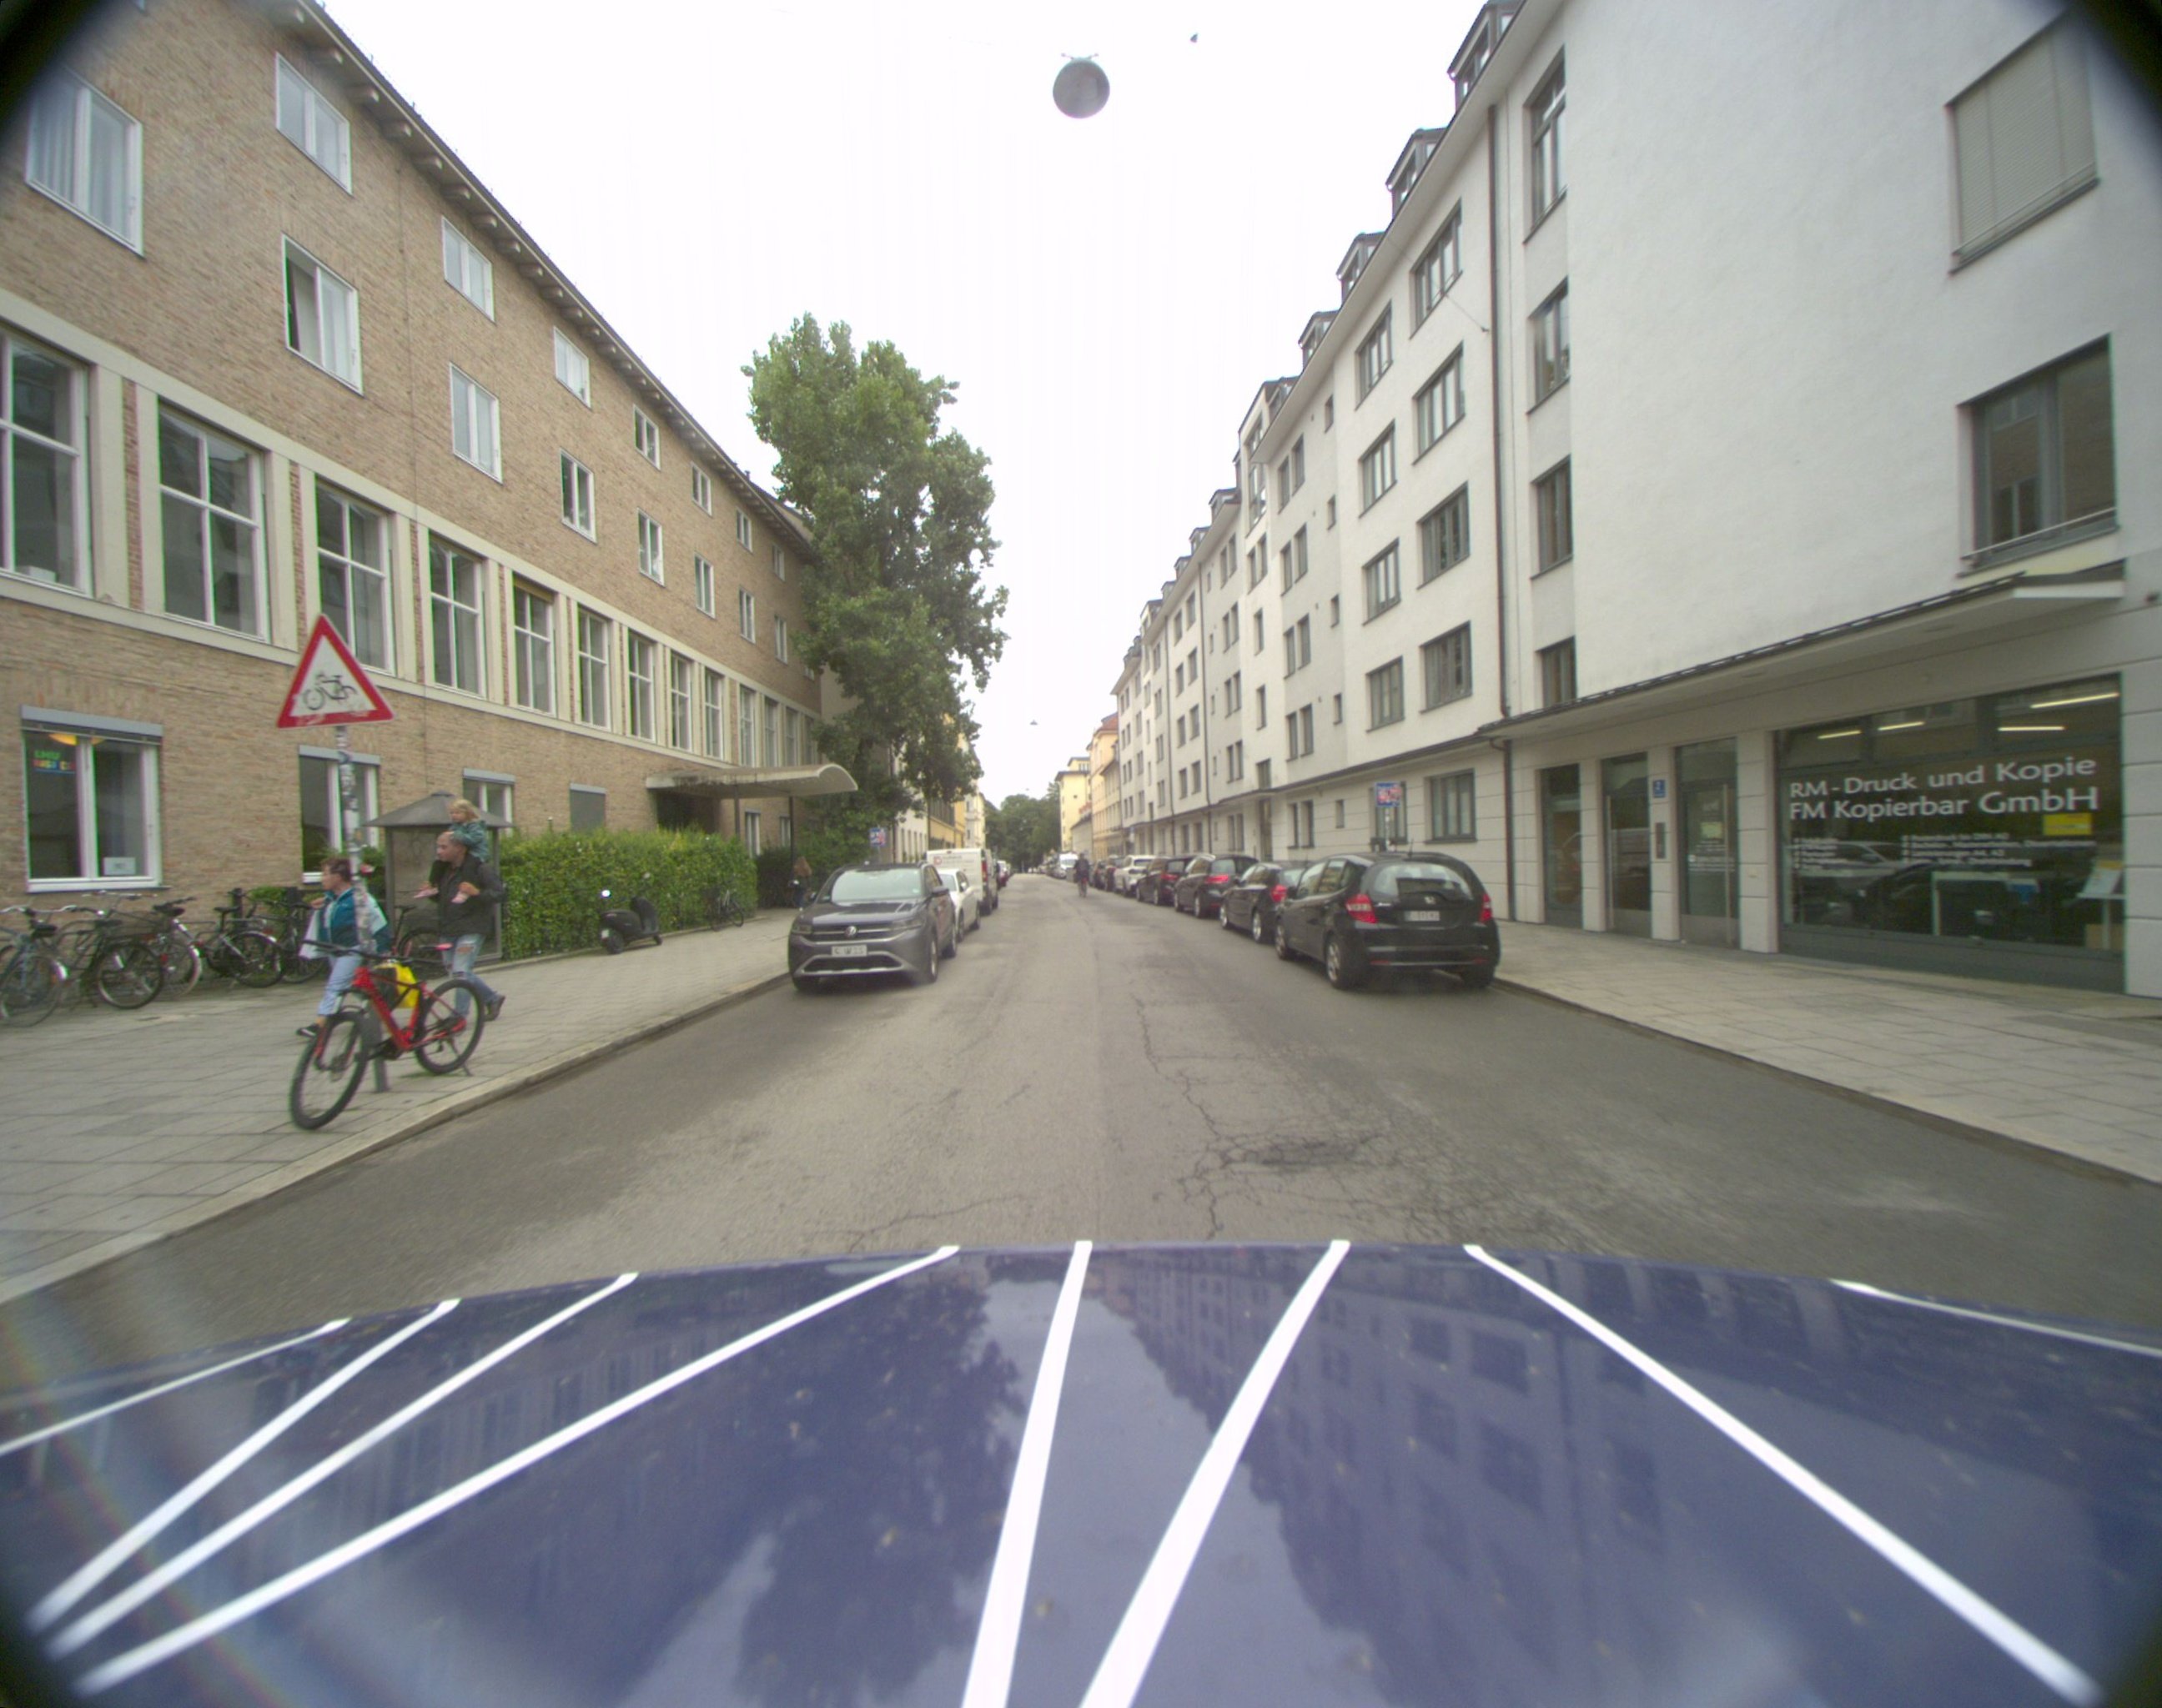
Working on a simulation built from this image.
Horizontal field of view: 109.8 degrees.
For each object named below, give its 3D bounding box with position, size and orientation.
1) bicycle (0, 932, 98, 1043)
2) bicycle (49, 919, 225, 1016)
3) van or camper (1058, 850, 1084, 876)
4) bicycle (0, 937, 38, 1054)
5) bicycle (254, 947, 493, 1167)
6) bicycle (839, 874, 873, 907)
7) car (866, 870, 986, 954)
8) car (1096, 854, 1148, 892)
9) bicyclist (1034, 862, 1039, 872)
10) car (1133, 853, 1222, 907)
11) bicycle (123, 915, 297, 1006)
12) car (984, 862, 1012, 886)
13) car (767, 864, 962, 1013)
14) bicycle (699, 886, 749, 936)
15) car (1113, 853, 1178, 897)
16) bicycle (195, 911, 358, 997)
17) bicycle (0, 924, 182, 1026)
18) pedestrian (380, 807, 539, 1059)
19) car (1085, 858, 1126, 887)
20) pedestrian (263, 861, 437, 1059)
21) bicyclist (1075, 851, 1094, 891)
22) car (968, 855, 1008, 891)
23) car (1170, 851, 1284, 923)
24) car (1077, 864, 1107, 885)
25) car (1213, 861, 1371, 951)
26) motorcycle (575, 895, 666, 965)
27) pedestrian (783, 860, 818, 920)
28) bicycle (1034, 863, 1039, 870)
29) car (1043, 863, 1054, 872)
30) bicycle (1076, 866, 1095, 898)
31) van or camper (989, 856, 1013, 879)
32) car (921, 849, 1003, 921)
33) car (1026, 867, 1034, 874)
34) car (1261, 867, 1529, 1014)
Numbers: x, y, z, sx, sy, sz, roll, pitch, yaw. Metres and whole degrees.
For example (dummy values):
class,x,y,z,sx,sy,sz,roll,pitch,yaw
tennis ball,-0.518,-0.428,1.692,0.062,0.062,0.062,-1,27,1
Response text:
class,x,y,z,sx,sy,sz,roll,pitch,yaw
bicycle,-10.710,1.312,7.508,1.633,1.036,0.348,-1,0,3
bicycle,-10.632,1.275,8.571,1.633,1.036,0.348,-1,0,3
van or camper,-0.988,0.840,70.529,1.999,2.297,5.476,-1,0,-4
bicycle,-10.626,1.308,7.002,1.633,1.036,0.348,-1,0,3
bicycle,-4.614,1.243,5.094,0.348,1.036,1.633,1,0,-11
bicycle,-7.910,1.250,26.781,0.672,1.067,2.223,-2,0,-4
car,-3.126,1.108,16.153,1.678,1.409,4.201,-3,0,-1
car,1.902,0.907,36.455,1.878,1.678,4.519,0,-1,-5
bicyclist,-7.528,2.200,128.632,0.688,1.617,0.852,-3,0,-6
car,3.121,0.831,25.574,1.878,1.648,4.588,0,-1,-7
bicycle,-10.574,1.283,9.244,1.634,1.036,0.348,-1,0,-3
car,-5.485,1.266,50.154,1.718,1.415,4.455,-2,0,-6
car,-2.796,0.994,10.730,1.752,1.584,3.954,-3,0,-3
bicycle,-8.220,1.285,17.544,0.423,1.047,1.488,-3,0,-1
car,2.549,0.838,31.212,1.878,1.648,4.589,0,-1,-5
bicycle,-10.398,1.284,9.843,1.634,1.036,0.348,-1,0,-4
bicycle,-10.635,1.291,8.156,1.633,1.036,0.348,-1,0,3
pedestrian,-5.751,0.686,7.068,0.812,2.185,0.797,0,1,14
car,1.333,1.011,42.305,1.778,1.530,4.157,0,-1,-5
pedestrian,-6.647,0.922,6.945,0.859,1.683,0.752,-1,0,12
bicyclist,0.134,0.651,29.864,0.659,1.542,0.887,-2,1,-2
car,-5.210,1.029,42.931,1.852,1.766,4.199,-4,0,-3
car,3.630,0.798,19.691,1.878,1.648,4.079,0,-1,-5
car,0.706,1.407,52.130,1.643,1.346,4.057,0,-1,-5
car,3.751,0.871,14.246,1.755,1.445,4.015,0,-1,-1
motorcycle,-8.072,1.293,13.413,0.489,1.047,1.923,-3,0,-3
pedestrian,-7.863,0.990,21.318,0.589,1.623,0.877,-3,0,1
bicycle,-7.553,2.176,128.728,0.734,1.144,1.998,-2,0,-6
car,-5.492,2.227,127.237,1.712,1.490,3.998,-2,-1,-5
bicycle,0.152,1.098,30.043,0.650,1.190,1.950,-1,0,-2
van or camper,-7.371,1.274,70.250,1.999,2.001,5.231,-2,-1,-6
car,-3.530,0.865,23.437,1.887,1.913,4.873,-2,0,-2
car,-11.625,3.707,173.144,1.794,1.409,3.904,-1,-1,-5
car,3.604,0.900,9.580,1.755,1.445,4.016,-1,-1,1
